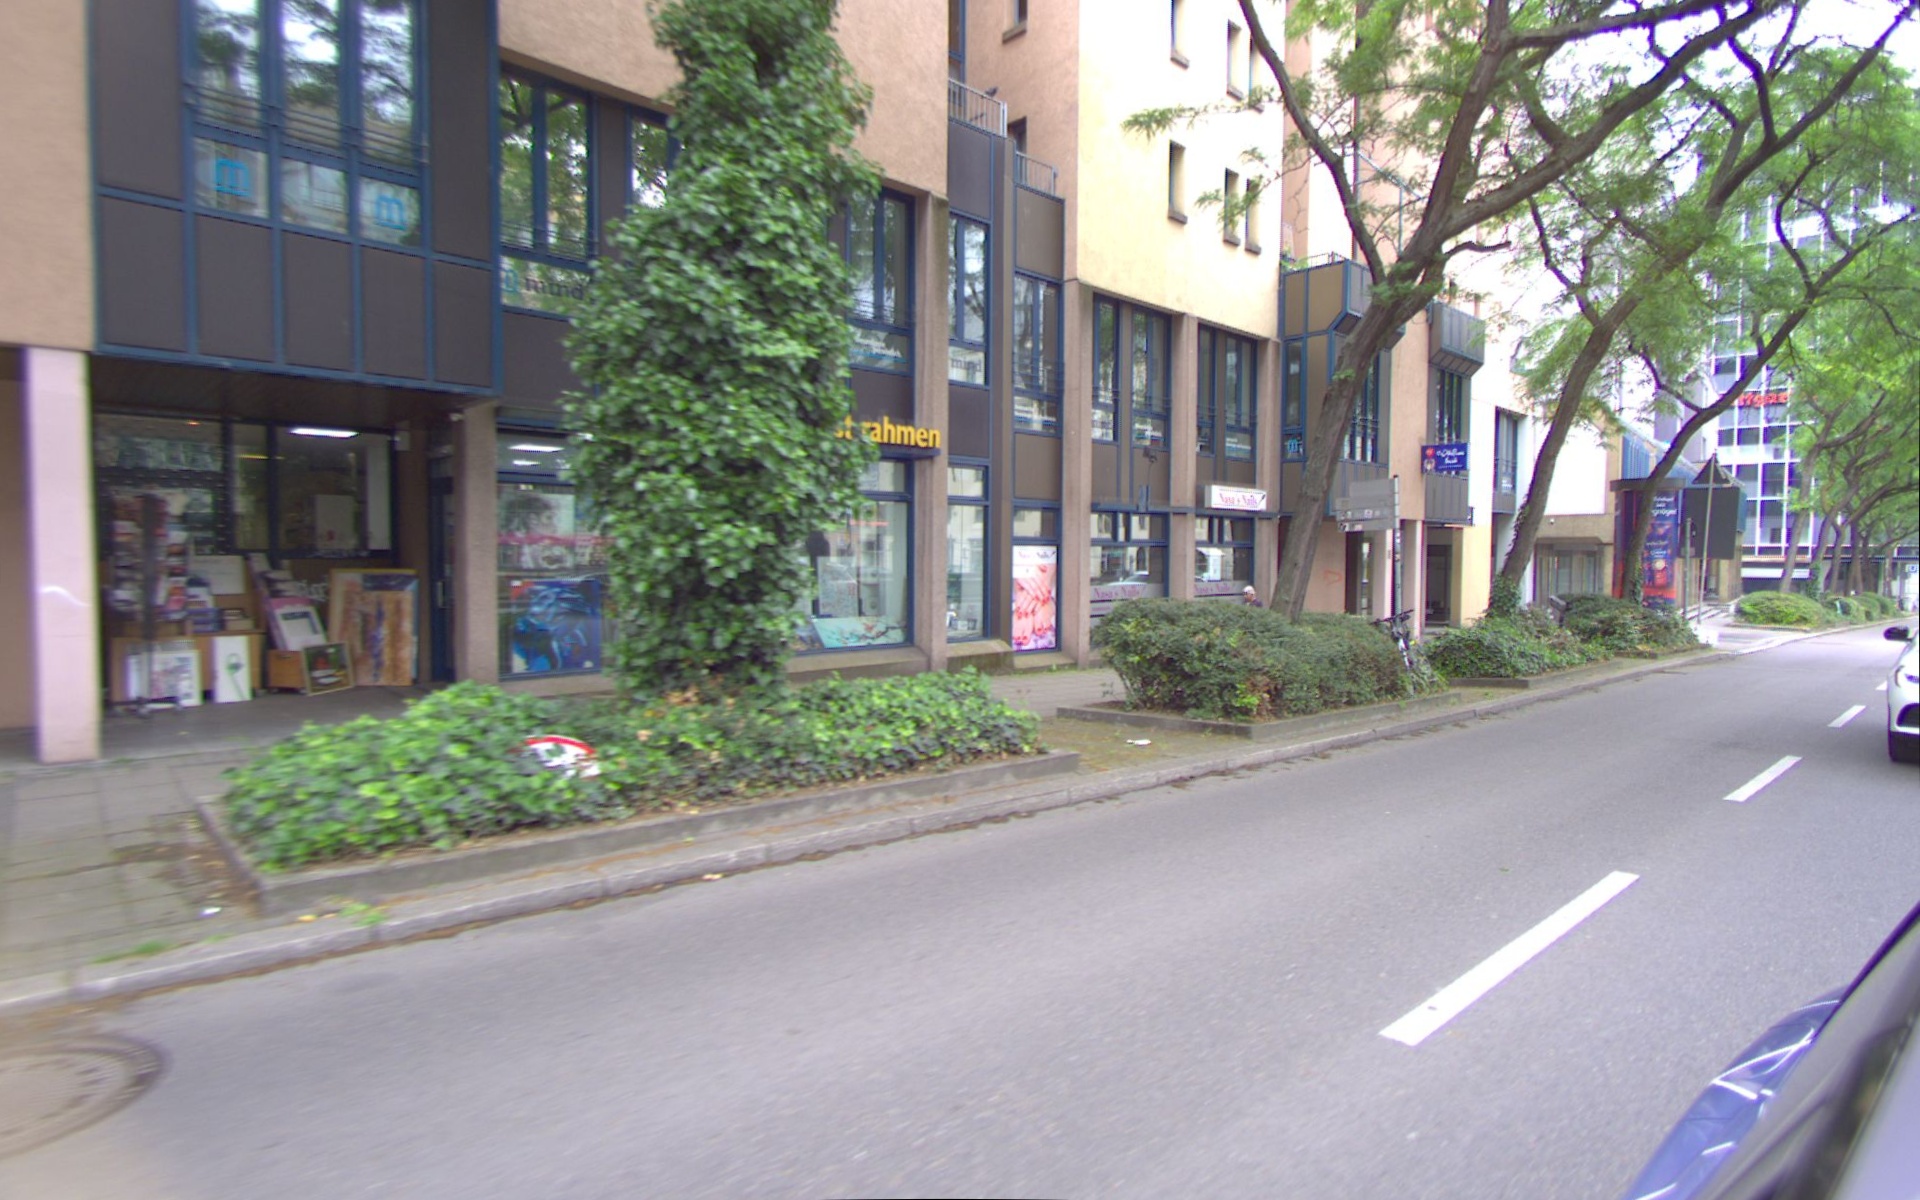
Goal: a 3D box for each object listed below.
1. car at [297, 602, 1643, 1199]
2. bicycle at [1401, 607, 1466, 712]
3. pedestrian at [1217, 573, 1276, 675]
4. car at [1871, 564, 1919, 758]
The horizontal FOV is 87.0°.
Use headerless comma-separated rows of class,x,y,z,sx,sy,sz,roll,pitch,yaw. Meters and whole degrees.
car,0.332,0.822,3.201,3.927,1.549,1.949,-1,1,-38
bicycle,6.016,0.720,12.827,0.361,1.216,1.548,2,2,39
pedestrian,5.021,0.402,17.747,0.674,1.732,0.712,1,1,-36
car,9.960,0.495,9.280,3.861,1.628,2.057,-1,1,-43
